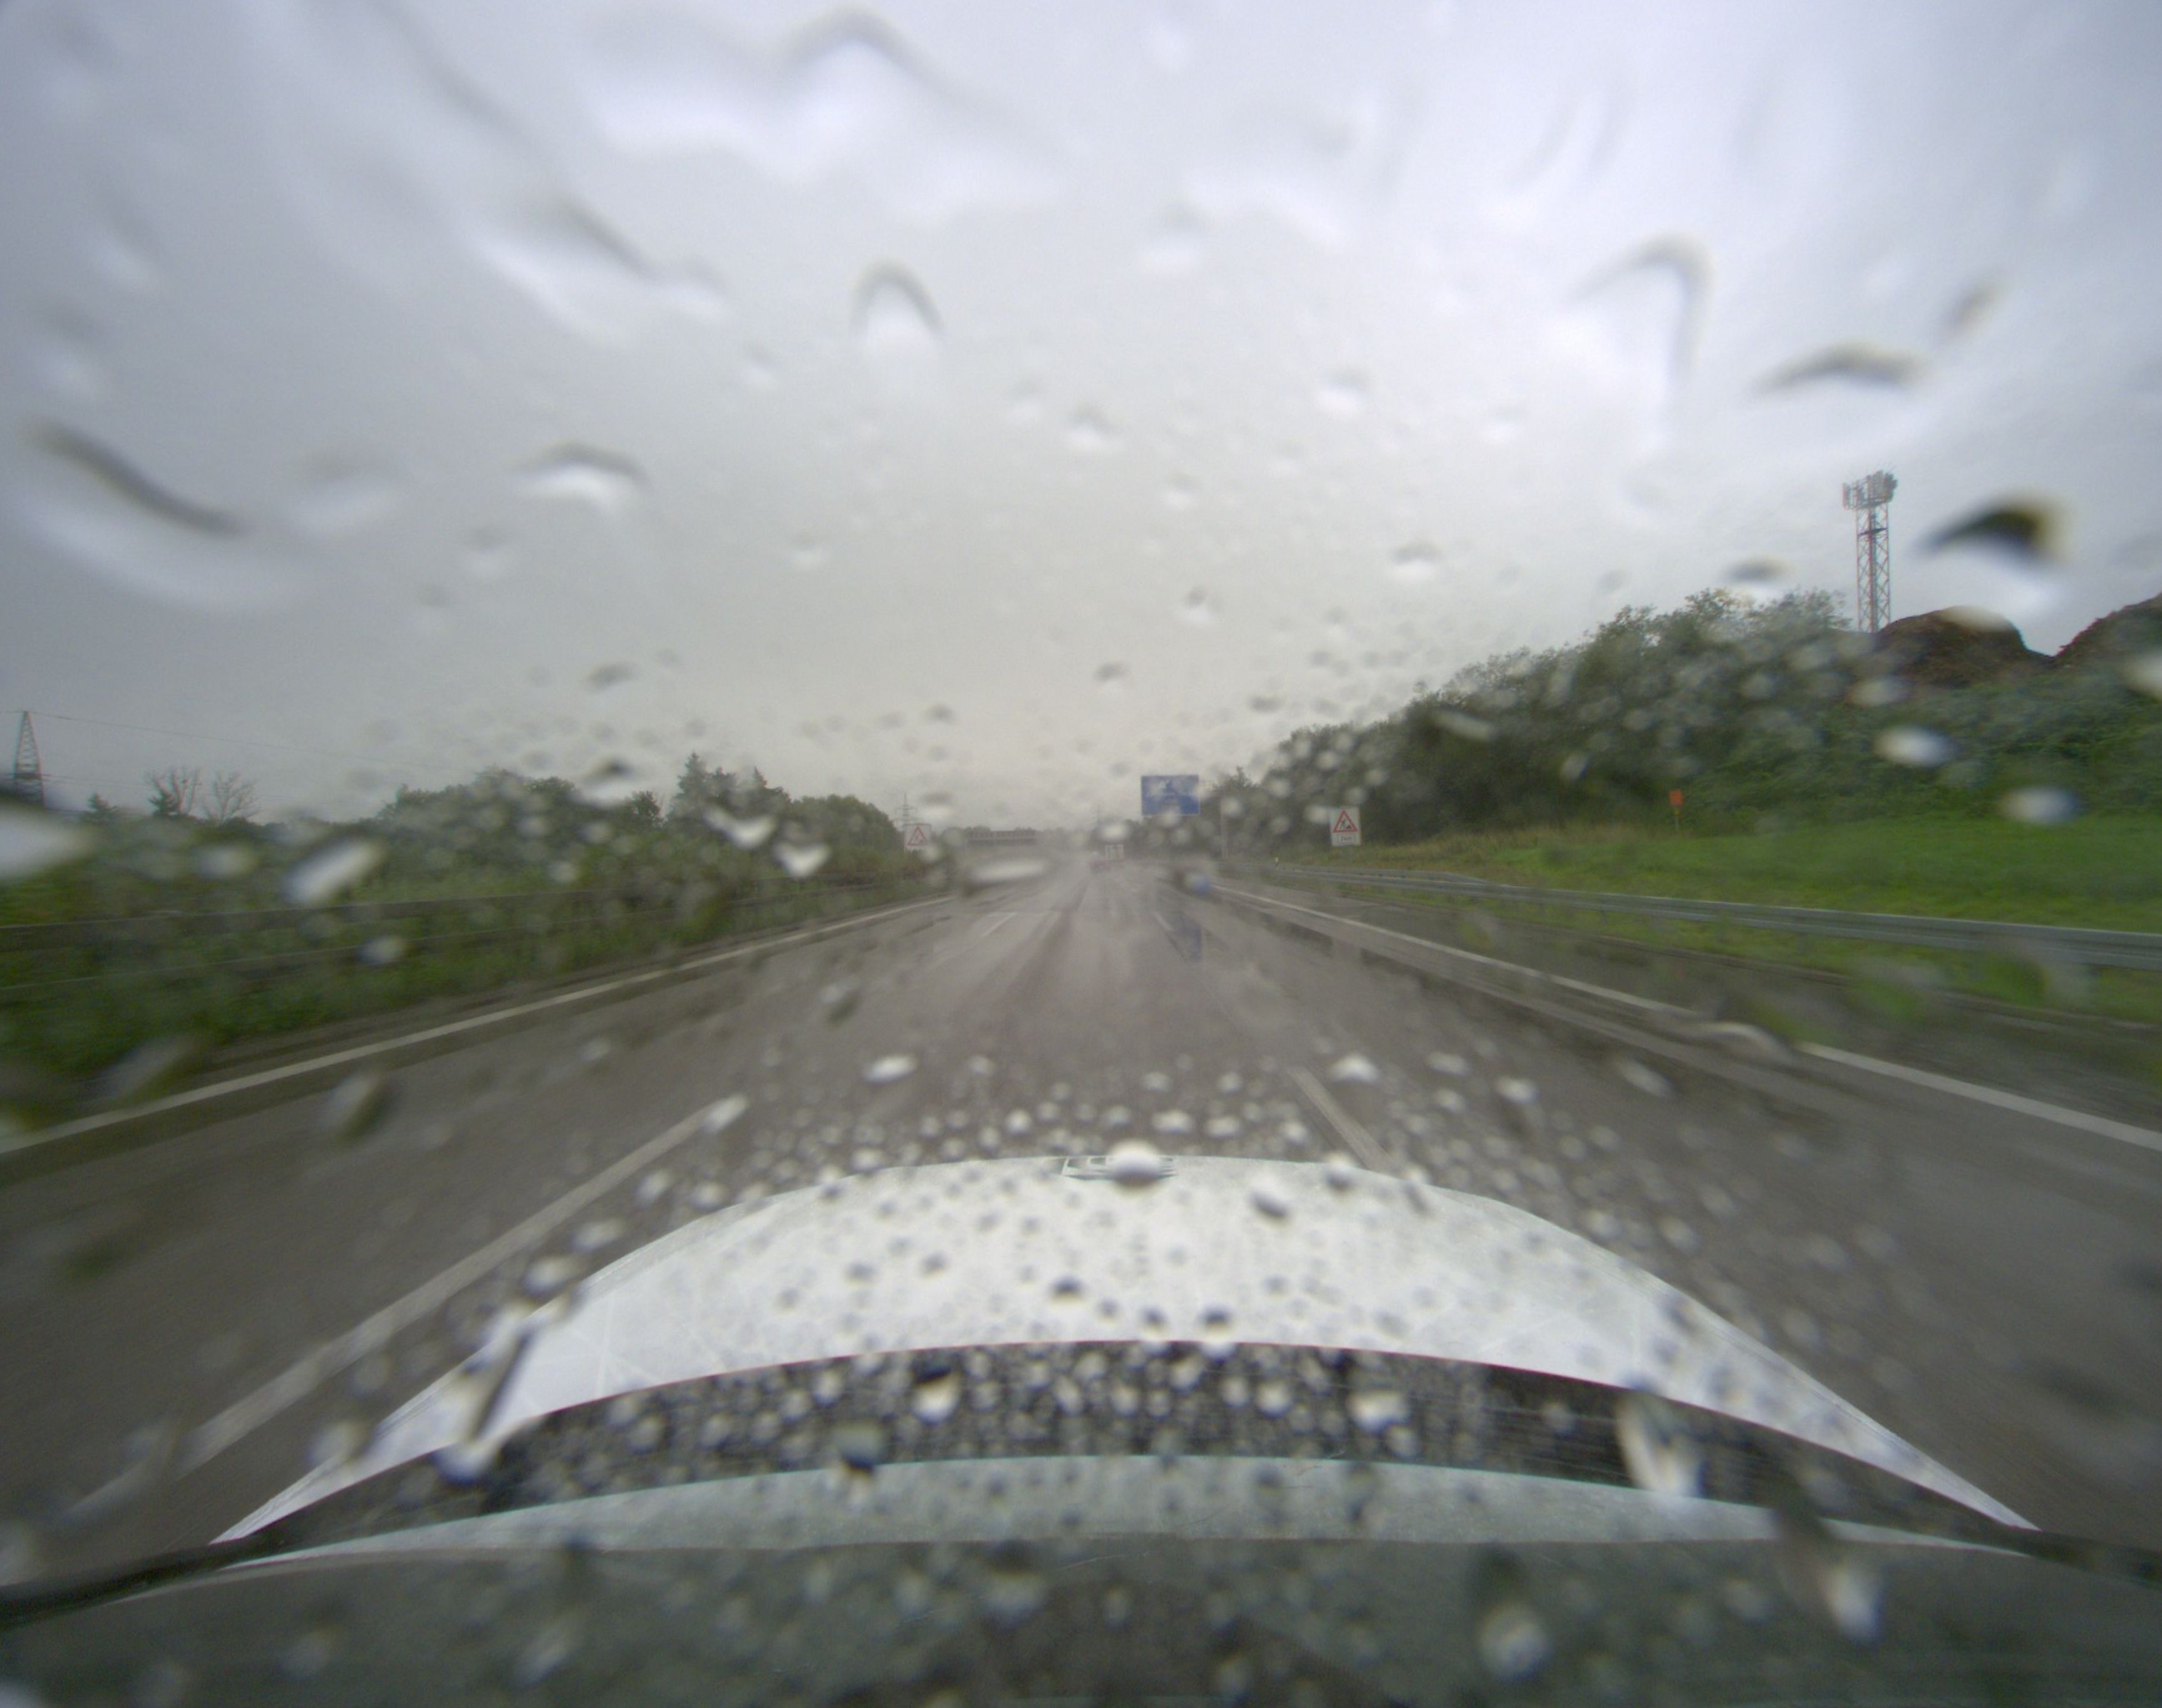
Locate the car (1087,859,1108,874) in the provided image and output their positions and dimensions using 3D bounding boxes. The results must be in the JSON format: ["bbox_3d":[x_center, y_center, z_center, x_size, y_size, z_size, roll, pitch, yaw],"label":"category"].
[{"bbox_3d":[1.441,1.100,71.743,1.742,1.212,4.000,0,0,1],"label":"car"}]

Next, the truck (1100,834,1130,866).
[{"bbox_3d":[5.875,-0.705,144.947,4.243,4.971,17.338,-4,0,0],"label":"truck"}]
